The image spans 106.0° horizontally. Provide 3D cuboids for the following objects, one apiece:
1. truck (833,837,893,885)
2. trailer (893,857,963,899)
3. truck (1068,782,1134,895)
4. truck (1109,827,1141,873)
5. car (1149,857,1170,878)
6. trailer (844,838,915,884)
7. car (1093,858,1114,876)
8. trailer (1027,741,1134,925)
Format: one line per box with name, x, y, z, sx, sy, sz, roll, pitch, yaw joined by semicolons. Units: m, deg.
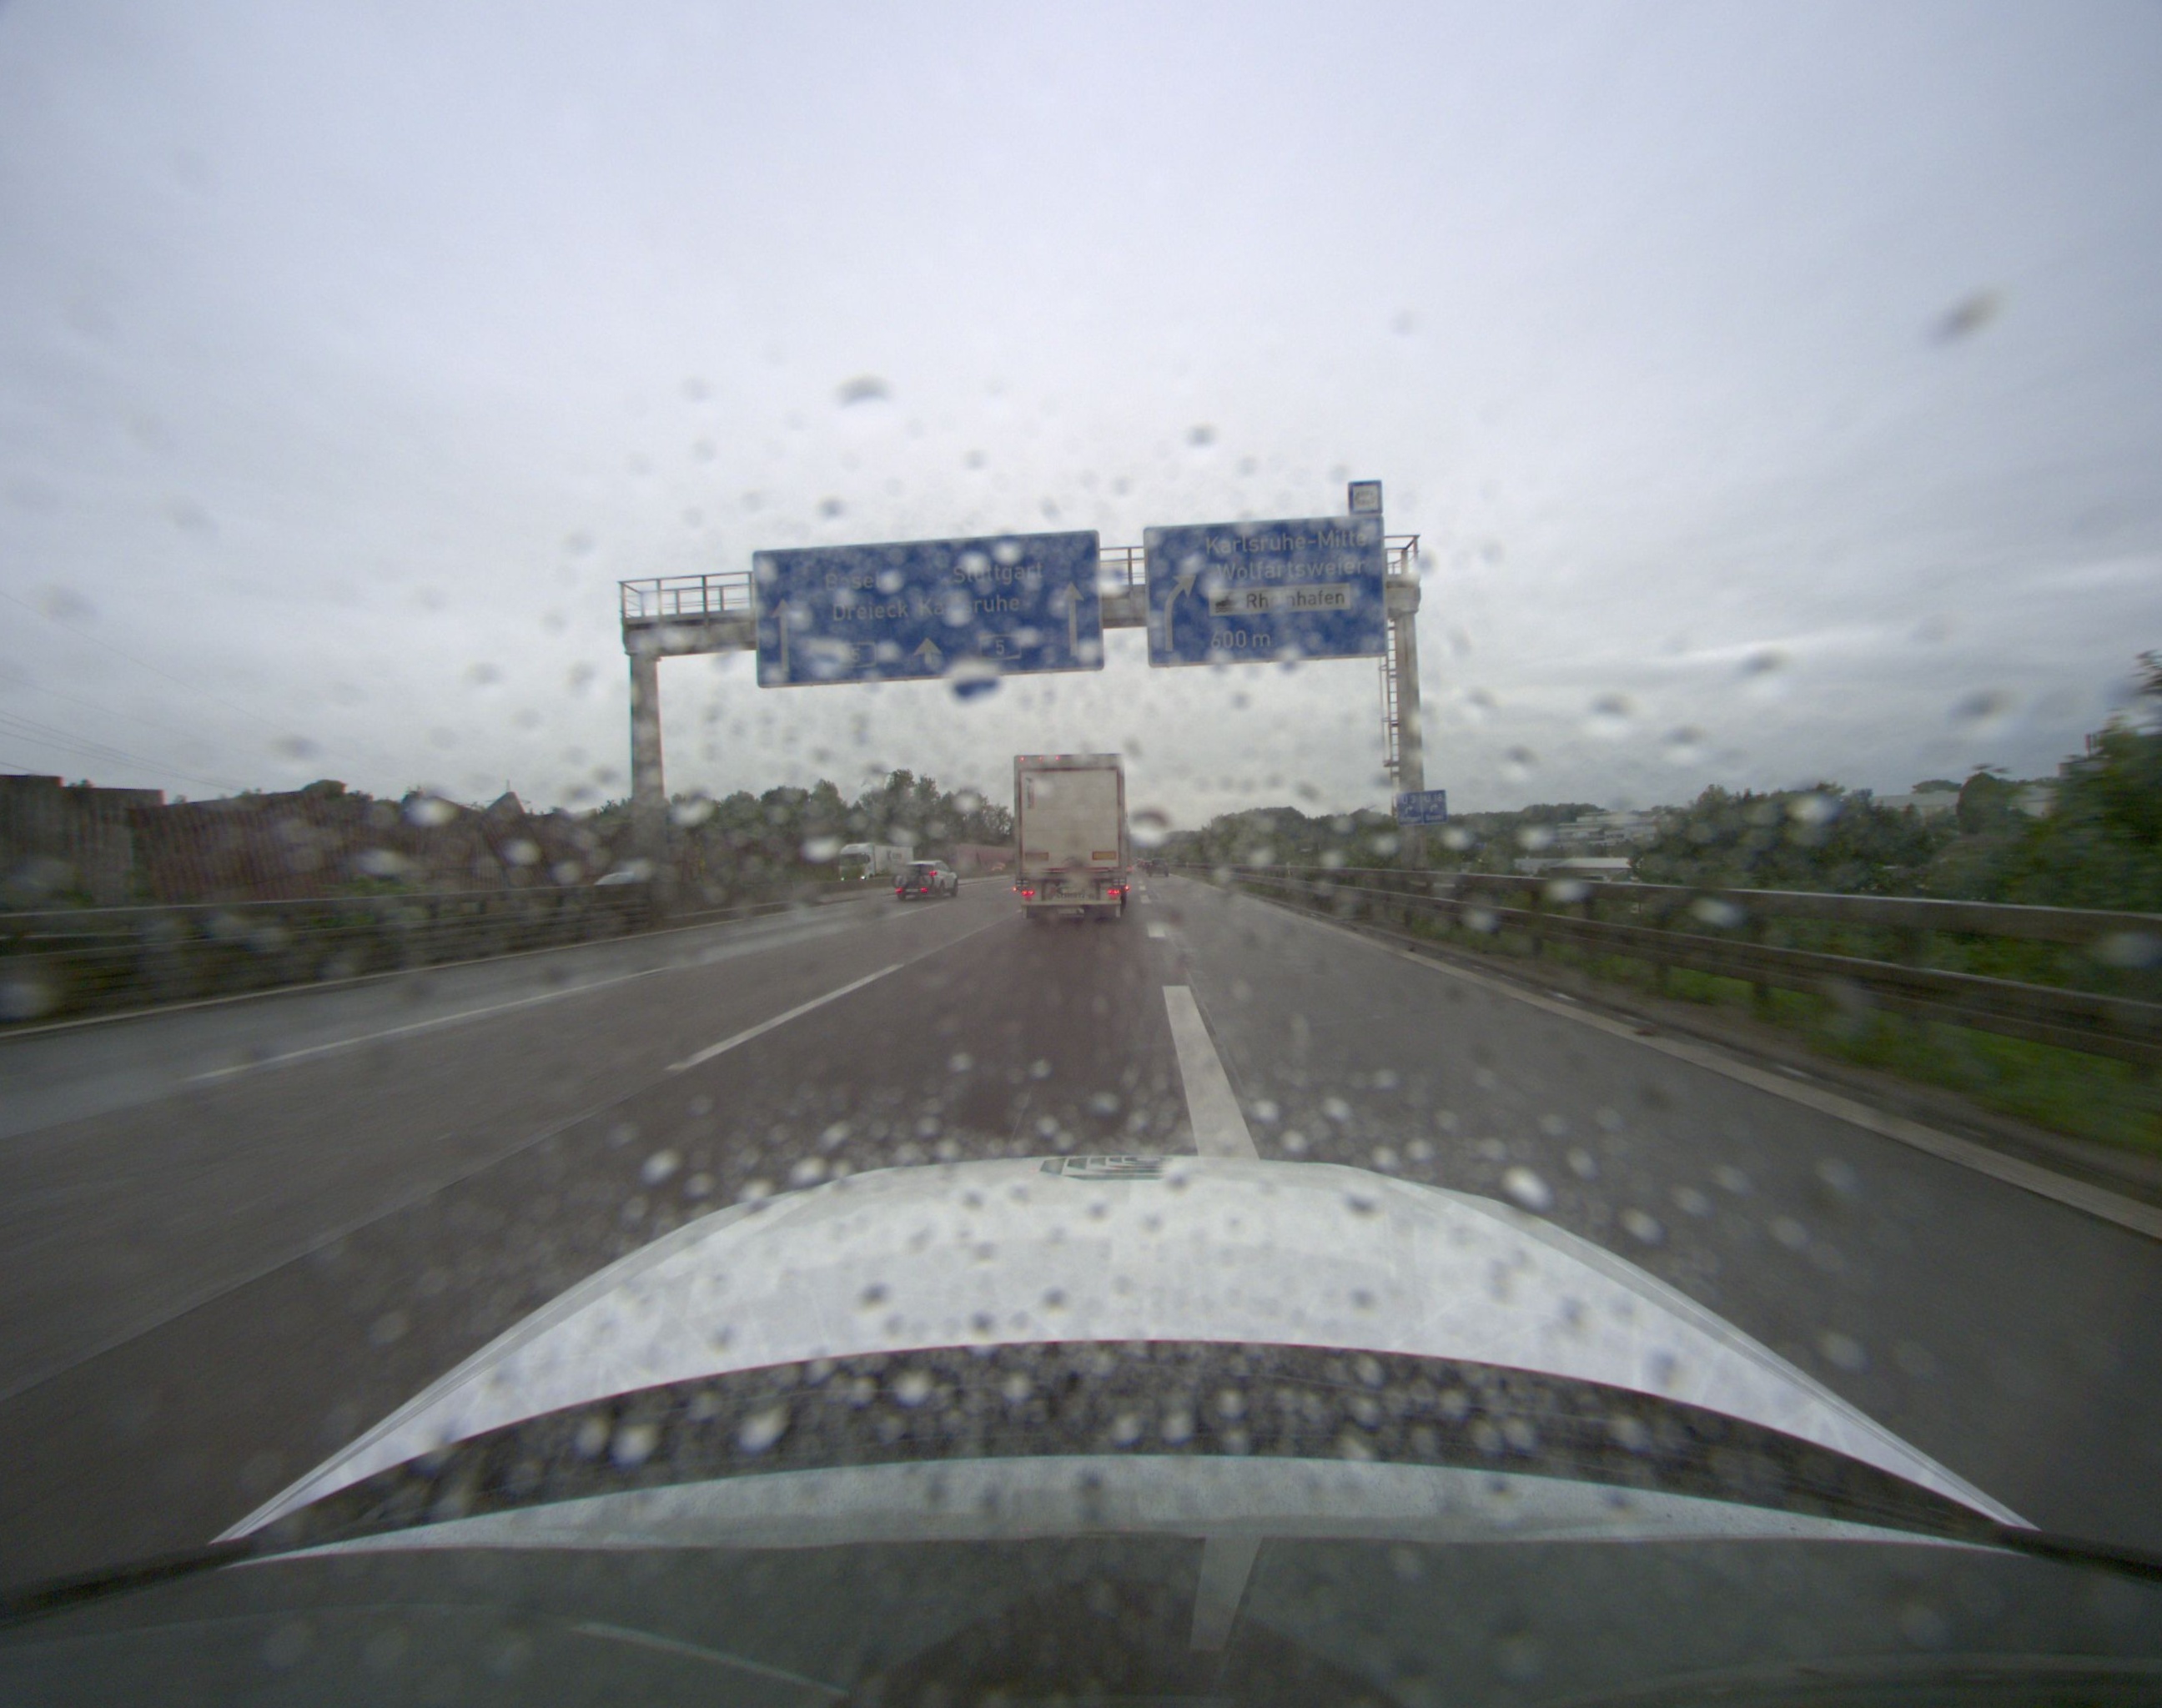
truck;-20.163;0.656;75.732;3.044;4.186;7.894;0;0;3
trailer;-6.410;0.966;34.642;1.807;1.624;4.572;-1;0;3
truck;0.936;-0.594;33.708;2.332;4.157;6.352;-2;0;3
truck;5.266;-0.412;96.202;3.519;5.183;9.901;0;0;3
car;7.321;1.242;76.343;1.888;1.949;4.005;0;0;5
trailer;-19.855;0.682;81.536;3.043;4.186;13.580;0;0;3
car;2.149;1.201;76.859;1.886;1.723;4.004;0;0;3
trailer;0.453;-0.533;26.078;2.332;4.157;14.841;-2;0;4
